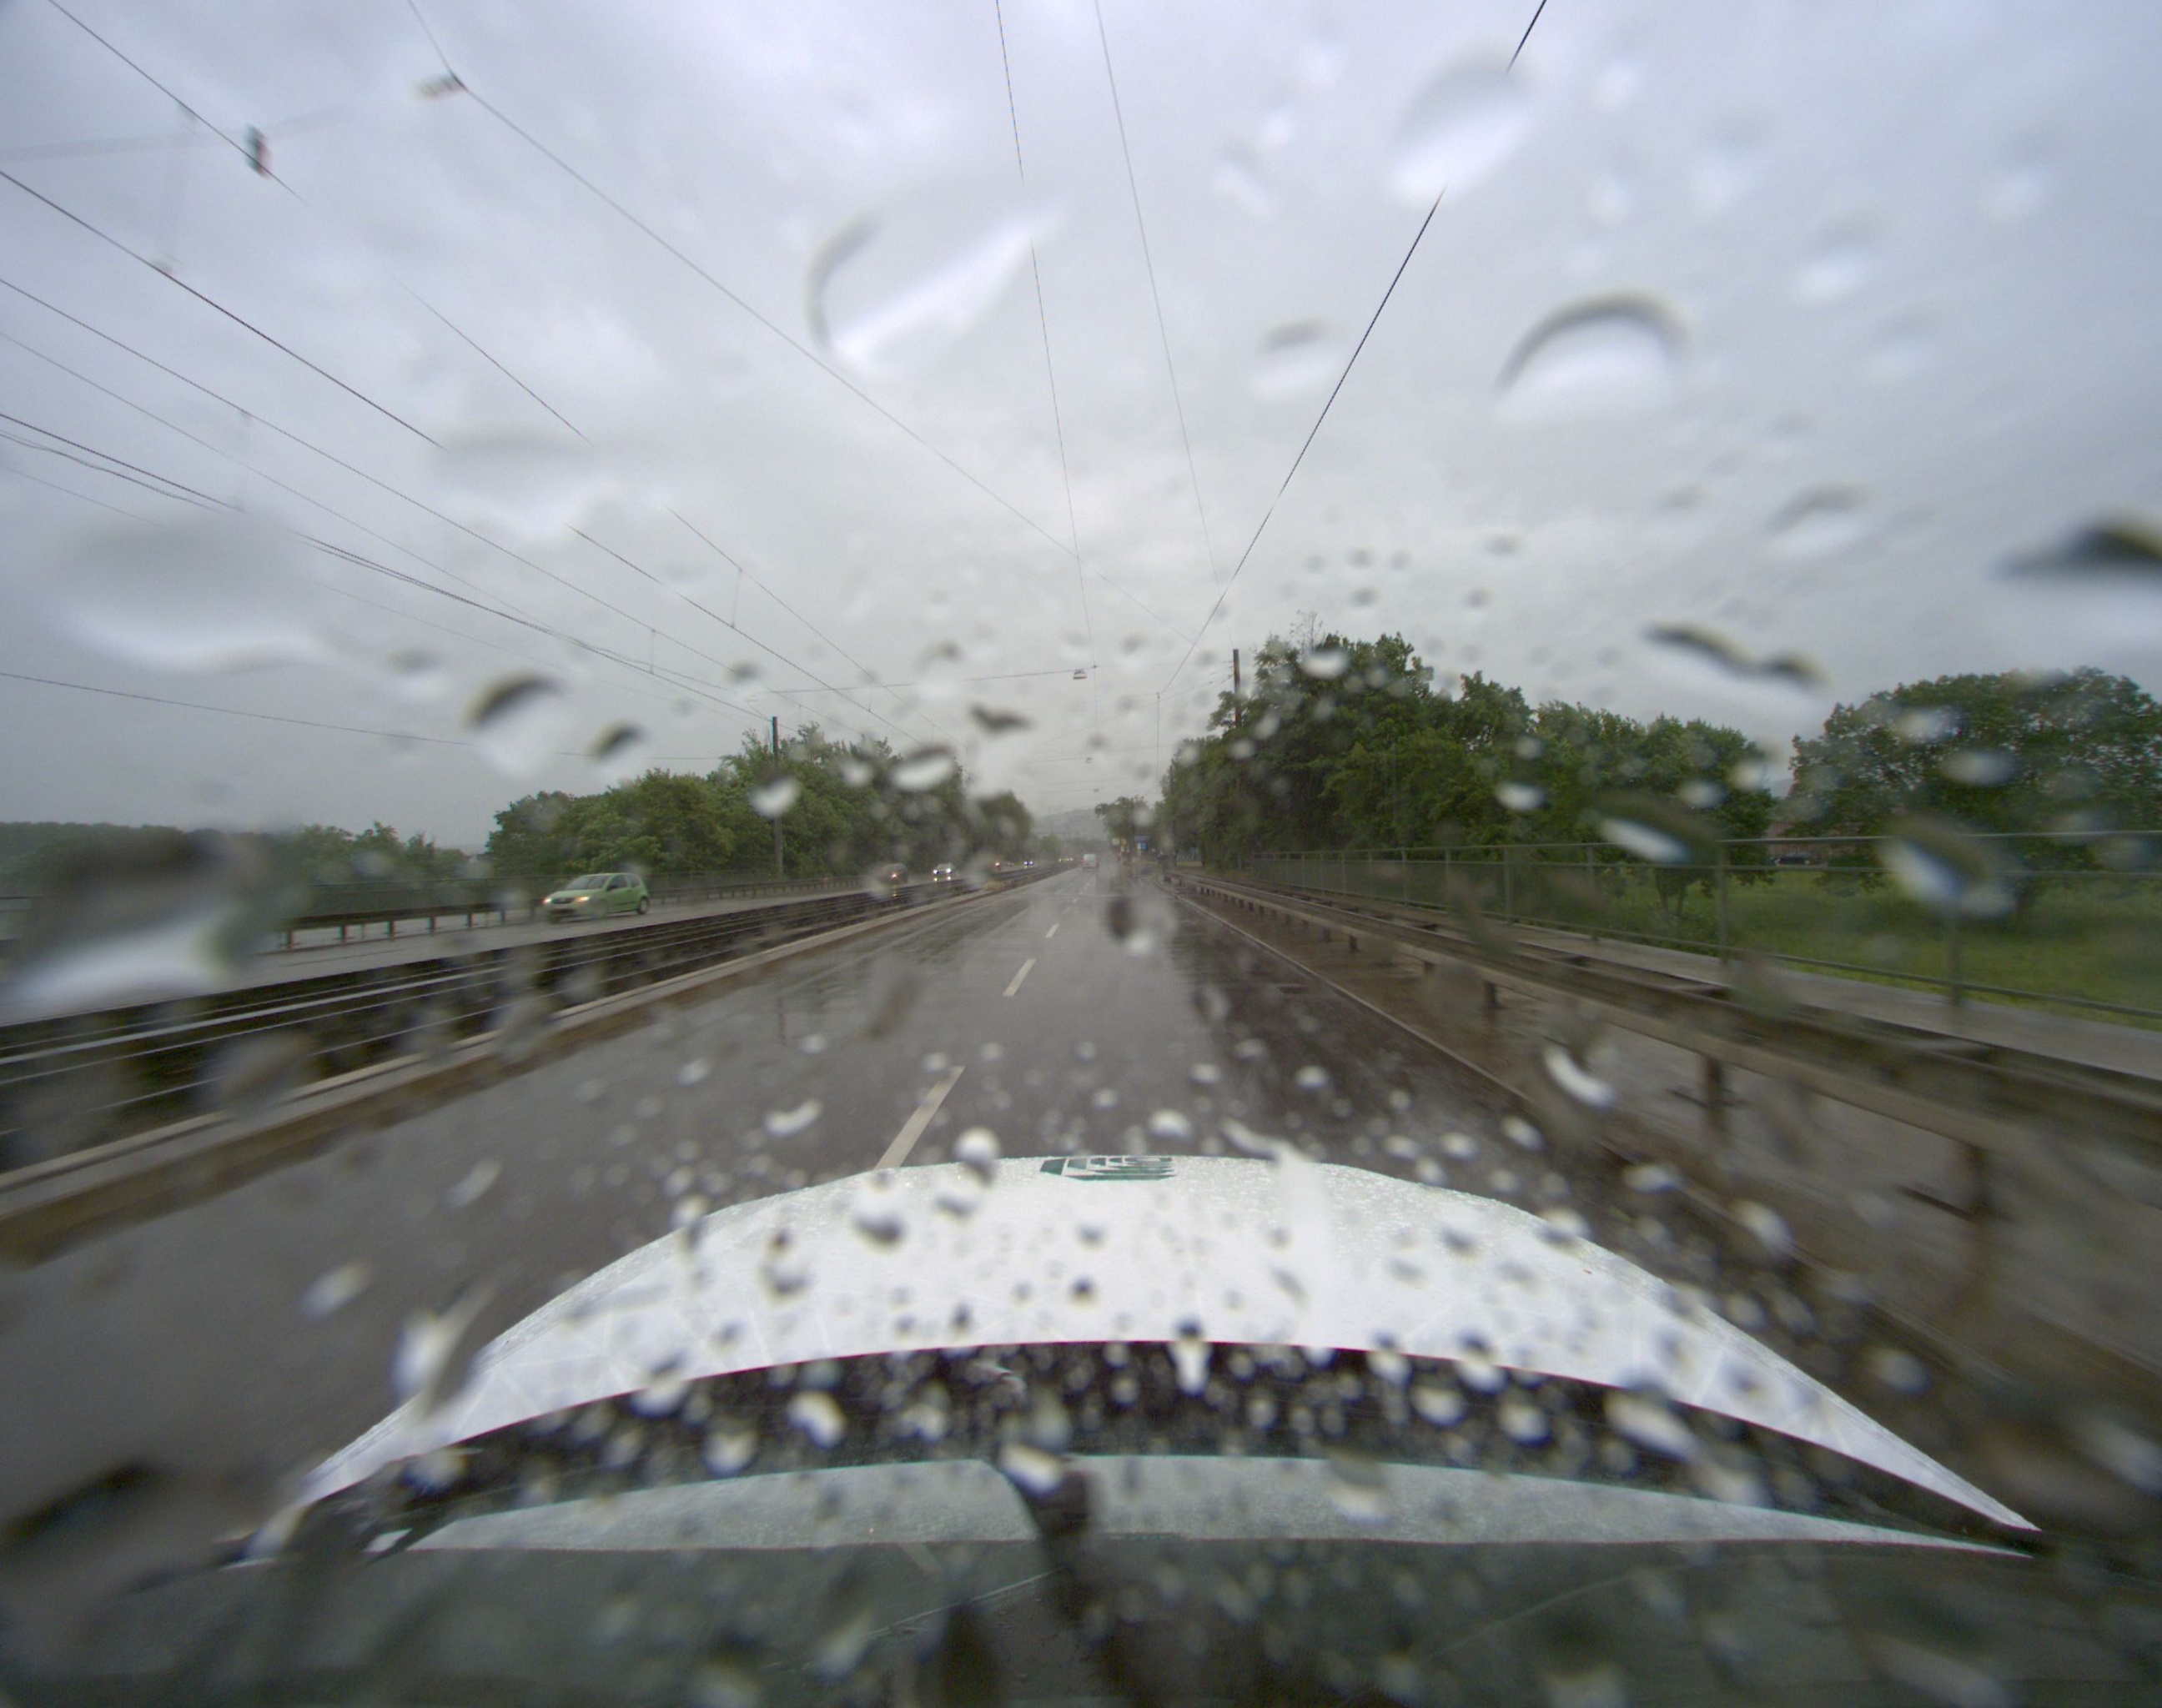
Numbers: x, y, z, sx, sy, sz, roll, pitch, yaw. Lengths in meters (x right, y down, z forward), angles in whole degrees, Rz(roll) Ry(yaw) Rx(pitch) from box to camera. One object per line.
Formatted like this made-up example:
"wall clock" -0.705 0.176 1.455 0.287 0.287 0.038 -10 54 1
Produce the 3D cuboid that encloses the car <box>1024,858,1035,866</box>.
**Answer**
"car" -11.793 1.775 185.866 1.986 1.782 4.001 3 0 1

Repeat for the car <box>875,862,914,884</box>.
"car" -14.222 1.418 62.328 1.834 1.574 4.387 -1 0 2

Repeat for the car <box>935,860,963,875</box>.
"car" -13.902 1.428 85.979 1.986 1.388 4.854 -2 0 1

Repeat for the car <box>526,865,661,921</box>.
"car" -15.622 1.192 26.366 1.839 1.594 4.002 -1 0 2

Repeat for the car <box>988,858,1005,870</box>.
"car" -12.830 1.469 124.459 1.986 1.672 4.873 -2 0 1

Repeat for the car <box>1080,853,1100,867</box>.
"car" 1.038 0.645 90.900 2.069 1.420 4.002 -3 0 2
